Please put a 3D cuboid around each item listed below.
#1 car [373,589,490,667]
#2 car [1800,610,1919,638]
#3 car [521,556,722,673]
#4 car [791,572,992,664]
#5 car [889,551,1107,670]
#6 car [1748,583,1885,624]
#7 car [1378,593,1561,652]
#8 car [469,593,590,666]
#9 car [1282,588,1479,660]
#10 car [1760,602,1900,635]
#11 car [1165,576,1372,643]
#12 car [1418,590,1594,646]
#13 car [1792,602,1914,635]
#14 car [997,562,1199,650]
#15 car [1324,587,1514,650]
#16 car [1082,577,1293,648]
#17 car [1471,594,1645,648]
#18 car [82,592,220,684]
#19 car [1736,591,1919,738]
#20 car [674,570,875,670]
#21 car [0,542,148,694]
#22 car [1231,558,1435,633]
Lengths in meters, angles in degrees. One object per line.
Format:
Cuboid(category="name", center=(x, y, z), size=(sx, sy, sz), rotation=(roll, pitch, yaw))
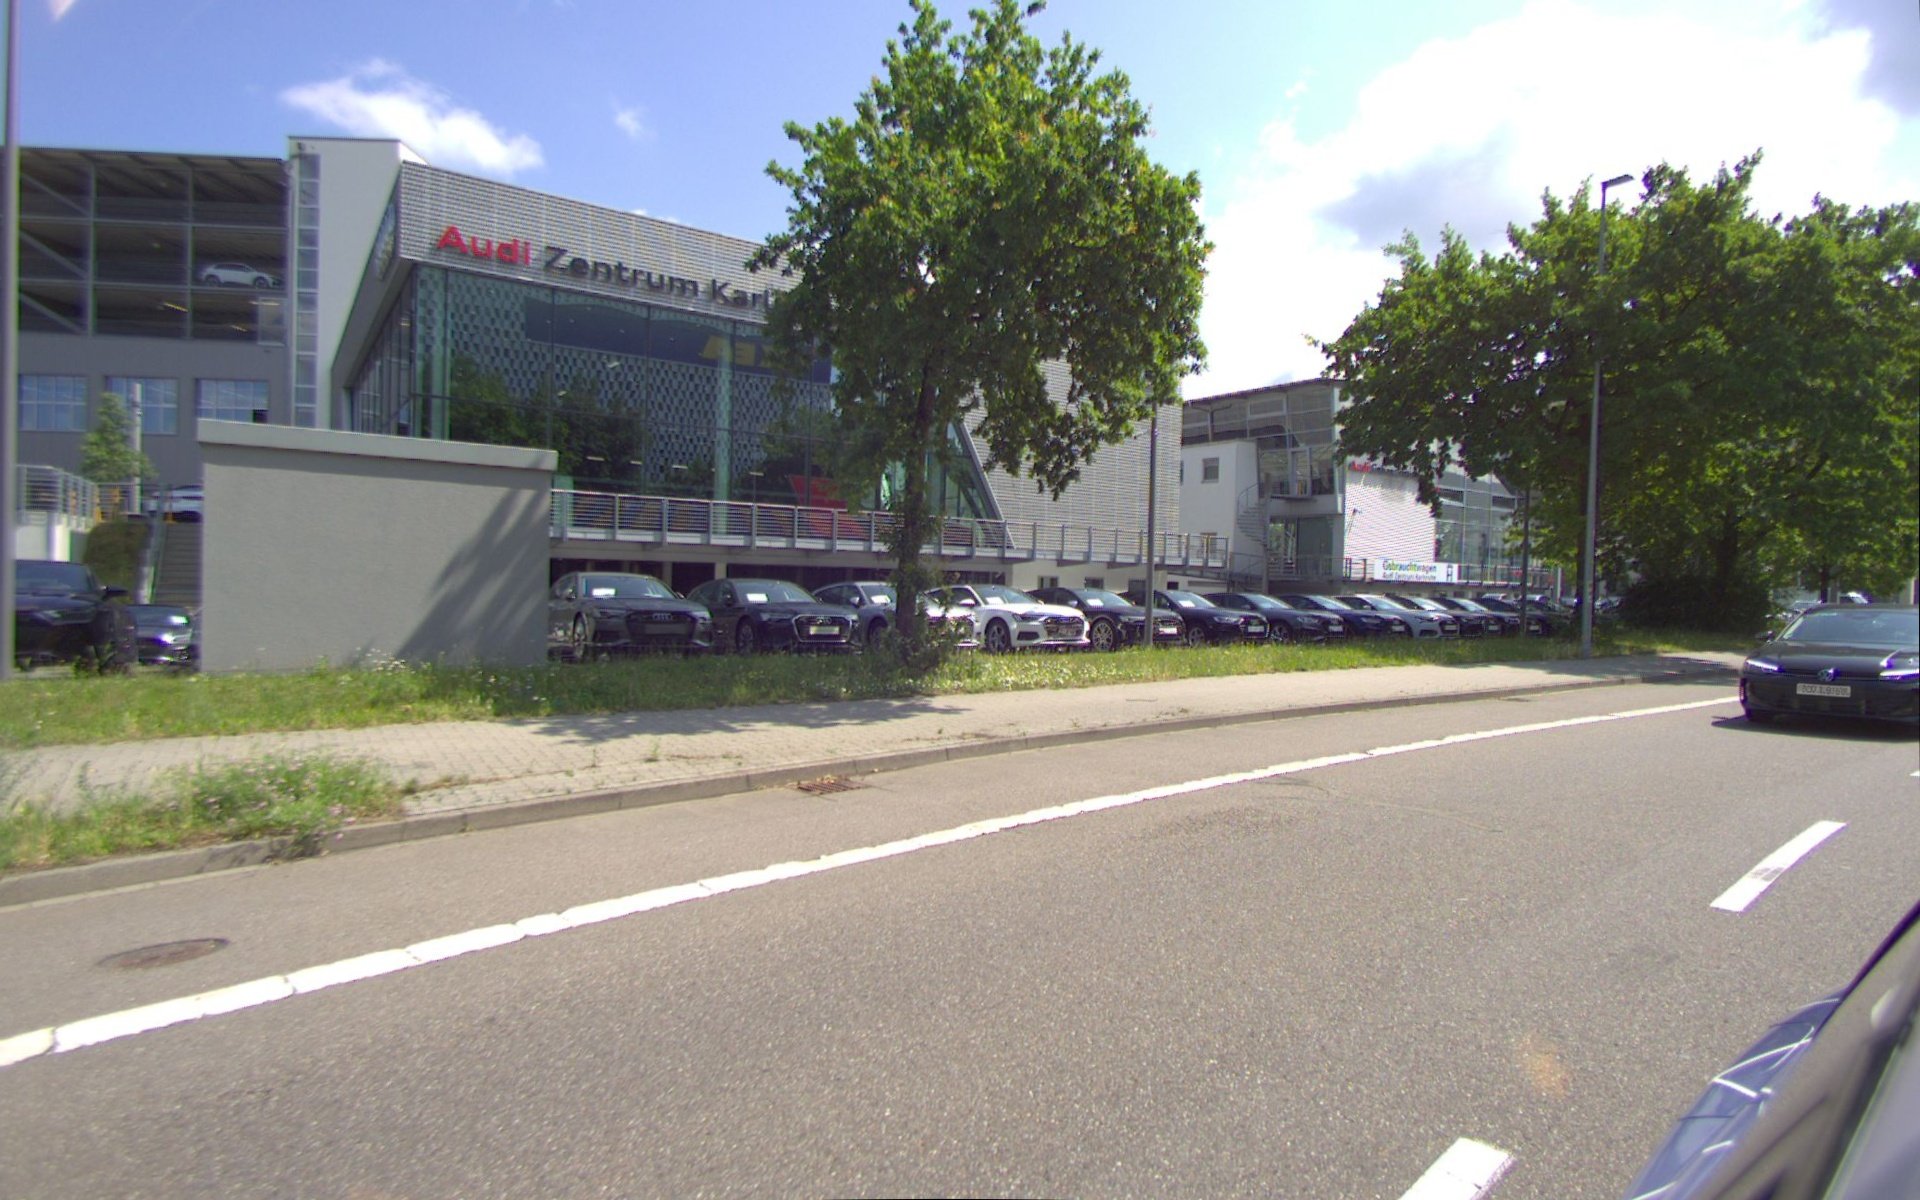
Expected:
Cuboid(category="car", center=(-12.411, 0.569, 23.635), size=(1.871, 1.517, 4.362), rotation=(1, 2, -35))
Cuboid(category="car", center=(48.094, 1.269, 54.063), size=(1.870, 1.314, 4.590), rotation=(3, -1, -35))
Cuboid(category="car", center=(-5.379, 0.117, 15.700), size=(1.820, 1.531, 4.371), rotation=(1, 2, -34))
Cuboid(category="car", center=(-1.370, 0.252, 18.502), size=(1.783, 1.421, 4.121), rotation=(1, 2, -35))
Cuboid(category="car", center=(0.616, 0.171, 20.051), size=(1.870, 2.075, 4.590), rotation=(3, -1, -35))
Cuboid(category="car", center=(58.902, 0.188, 69.775), size=(2.096, 2.640, 6.873), rotation=(3, -1, -28))
Cuboid(category="car", center=(15.331, 0.628, 30.704), size=(1.871, 1.517, 4.591), rotation=(1, 2, -35))
Cuboid(category="car", center=(-10.701, 0.654, 24.983), size=(1.871, 1.517, 4.362), rotation=(1, 2, -35))
Cuboid(category="car", center=(11.226, 0.597, 27.301), size=(1.870, 1.699, 4.590), rotation=(3, -1, -35))
Cuboid(category="car", center=(40.065, 0.818, 46.723), size=(1.870, 1.314, 4.590), rotation=(3, -1, -35))
Cuboid(category="car", center=(7.317, 0.186, 24.479), size=(1.870, 1.422, 4.590), rotation=(3, -1, -35))
Cuboid(category="car", center=(17.335, 0.519, 32.336), size=(1.871, 1.517, 4.591), rotation=(1, 2, -35))
Cuboid(category="car", center=(42.165, 0.867, 47.871), size=(1.762, 1.483, 3.999), rotation=(1, -2, -35))
Cuboid(category="car", center=(2.786, 0.220, 21.440), size=(1.751, 1.533, 4.358), rotation=(3, -5, -35))
Cuboid(category="car", center=(12.905, 0.467, 28.752), size=(1.871, 1.517, 4.591), rotation=(1, 2, -35))
Cuboid(category="car", center=(5.051, 0.243, 23.074), size=(1.870, 1.422, 4.590), rotation=(3, -1, -35))
Cuboid(category="car", center=(19.697, 0.638, 33.532), size=(1.871, 1.517, 4.591), rotation=(1, 2, -35))
Cuboid(category="car", center=(-16.179, 0.668, 20.427), size=(1.871, 1.517, 4.362), rotation=(1, 2, -35))
Cuboid(category="car", center=(11.716, 0.666, 12.814), size=(5.110, 1.496, 1.813), rotation=(-1, 2, -39))
Cuboid(category="car", center=(-3.261, 0.267, 17.136), size=(1.820, 1.463, 4.121), rotation=(1, 0, -34))
Cuboid(category="car", center=(-11.024, 0.129, 11.908), size=(1.874, 1.532, 4.370), rotation=(3, -1, -34))
Cuboid(category="car", center=(9.371, -0.136, 25.762), size=(1.870, 1.699, 4.590), rotation=(3, -1, -35))
